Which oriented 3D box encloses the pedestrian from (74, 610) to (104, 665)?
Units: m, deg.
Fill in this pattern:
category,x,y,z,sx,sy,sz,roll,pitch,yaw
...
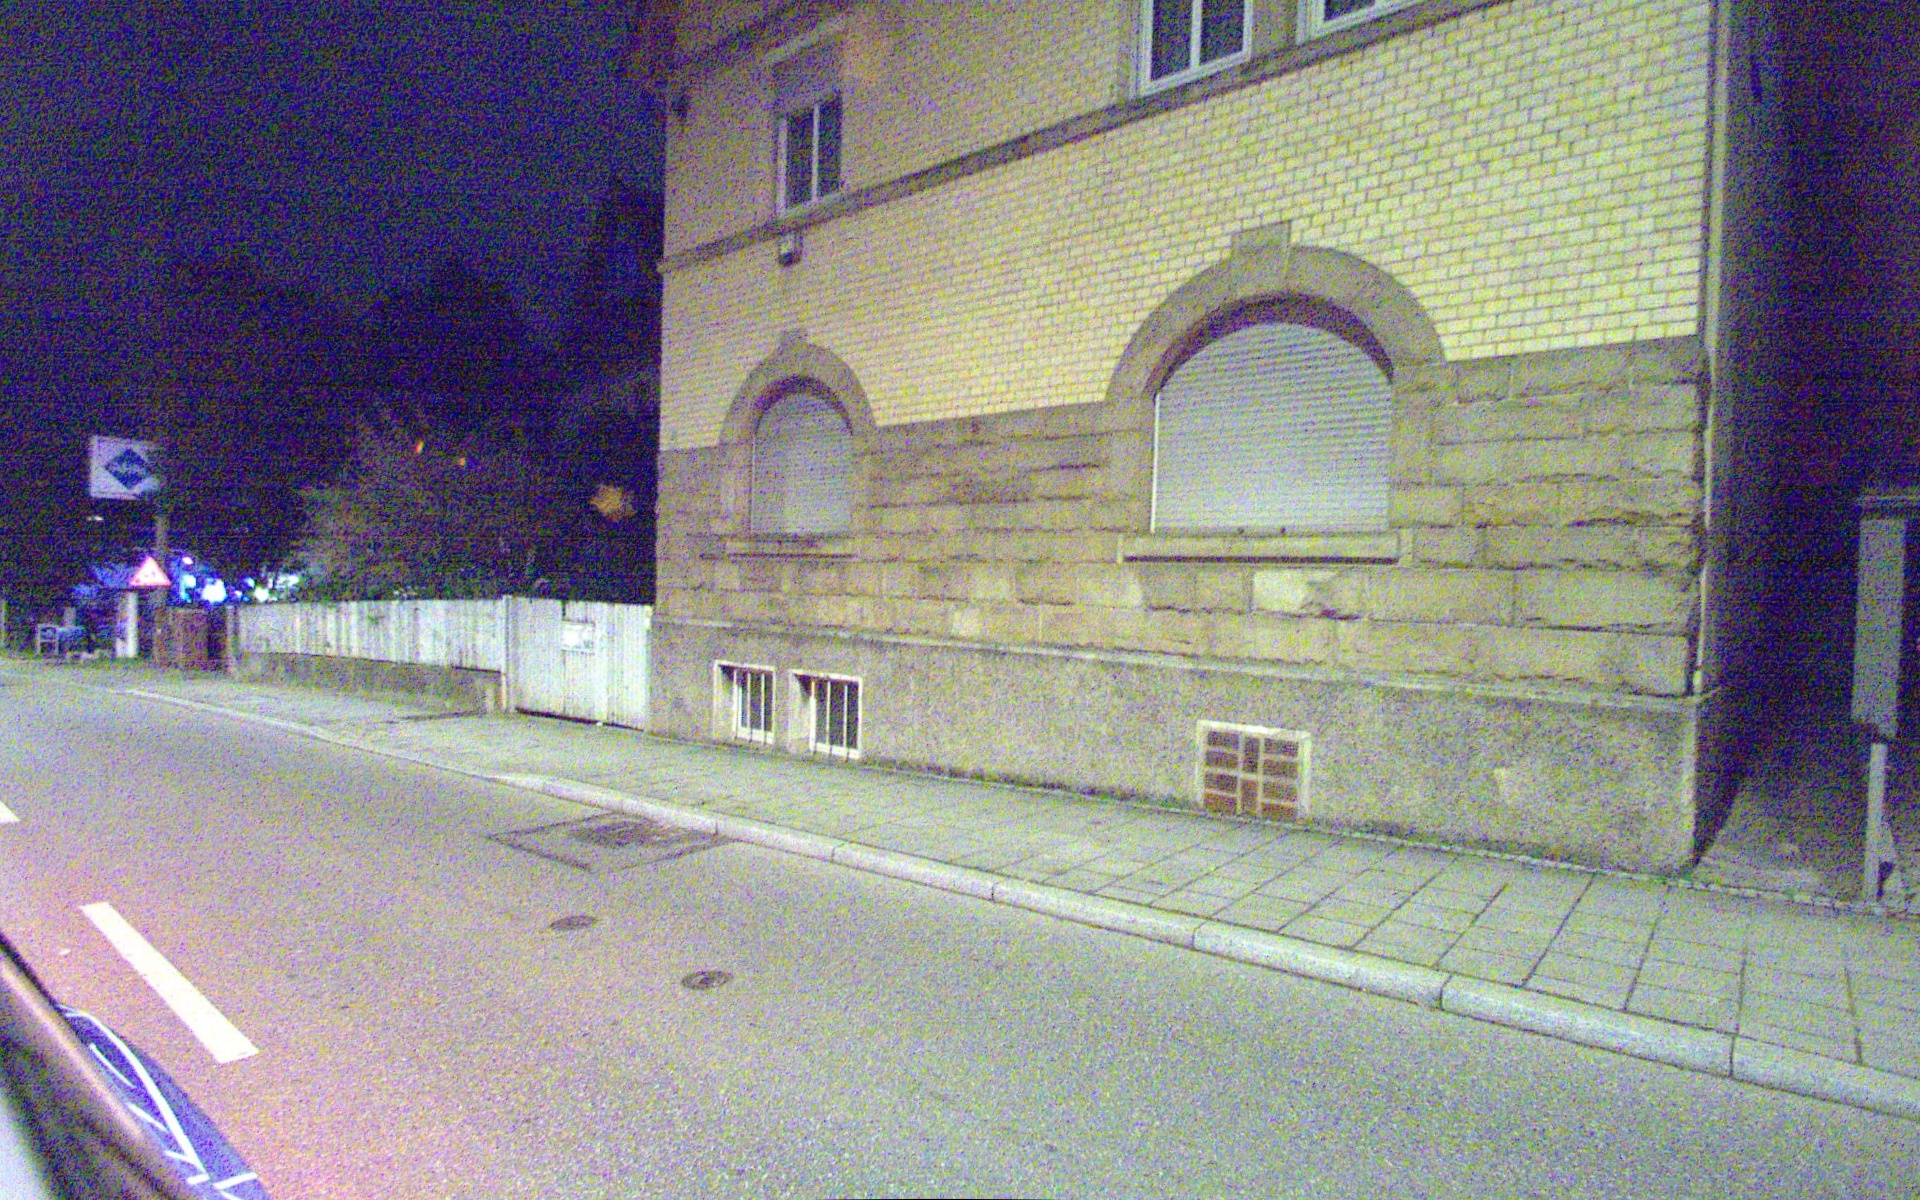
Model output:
category,x,y,z,sx,sy,sz,roll,pitch,yaw
pedestrian,-28.886,1.237,33.567,0.500,1.773,0.664,-1,0,41
